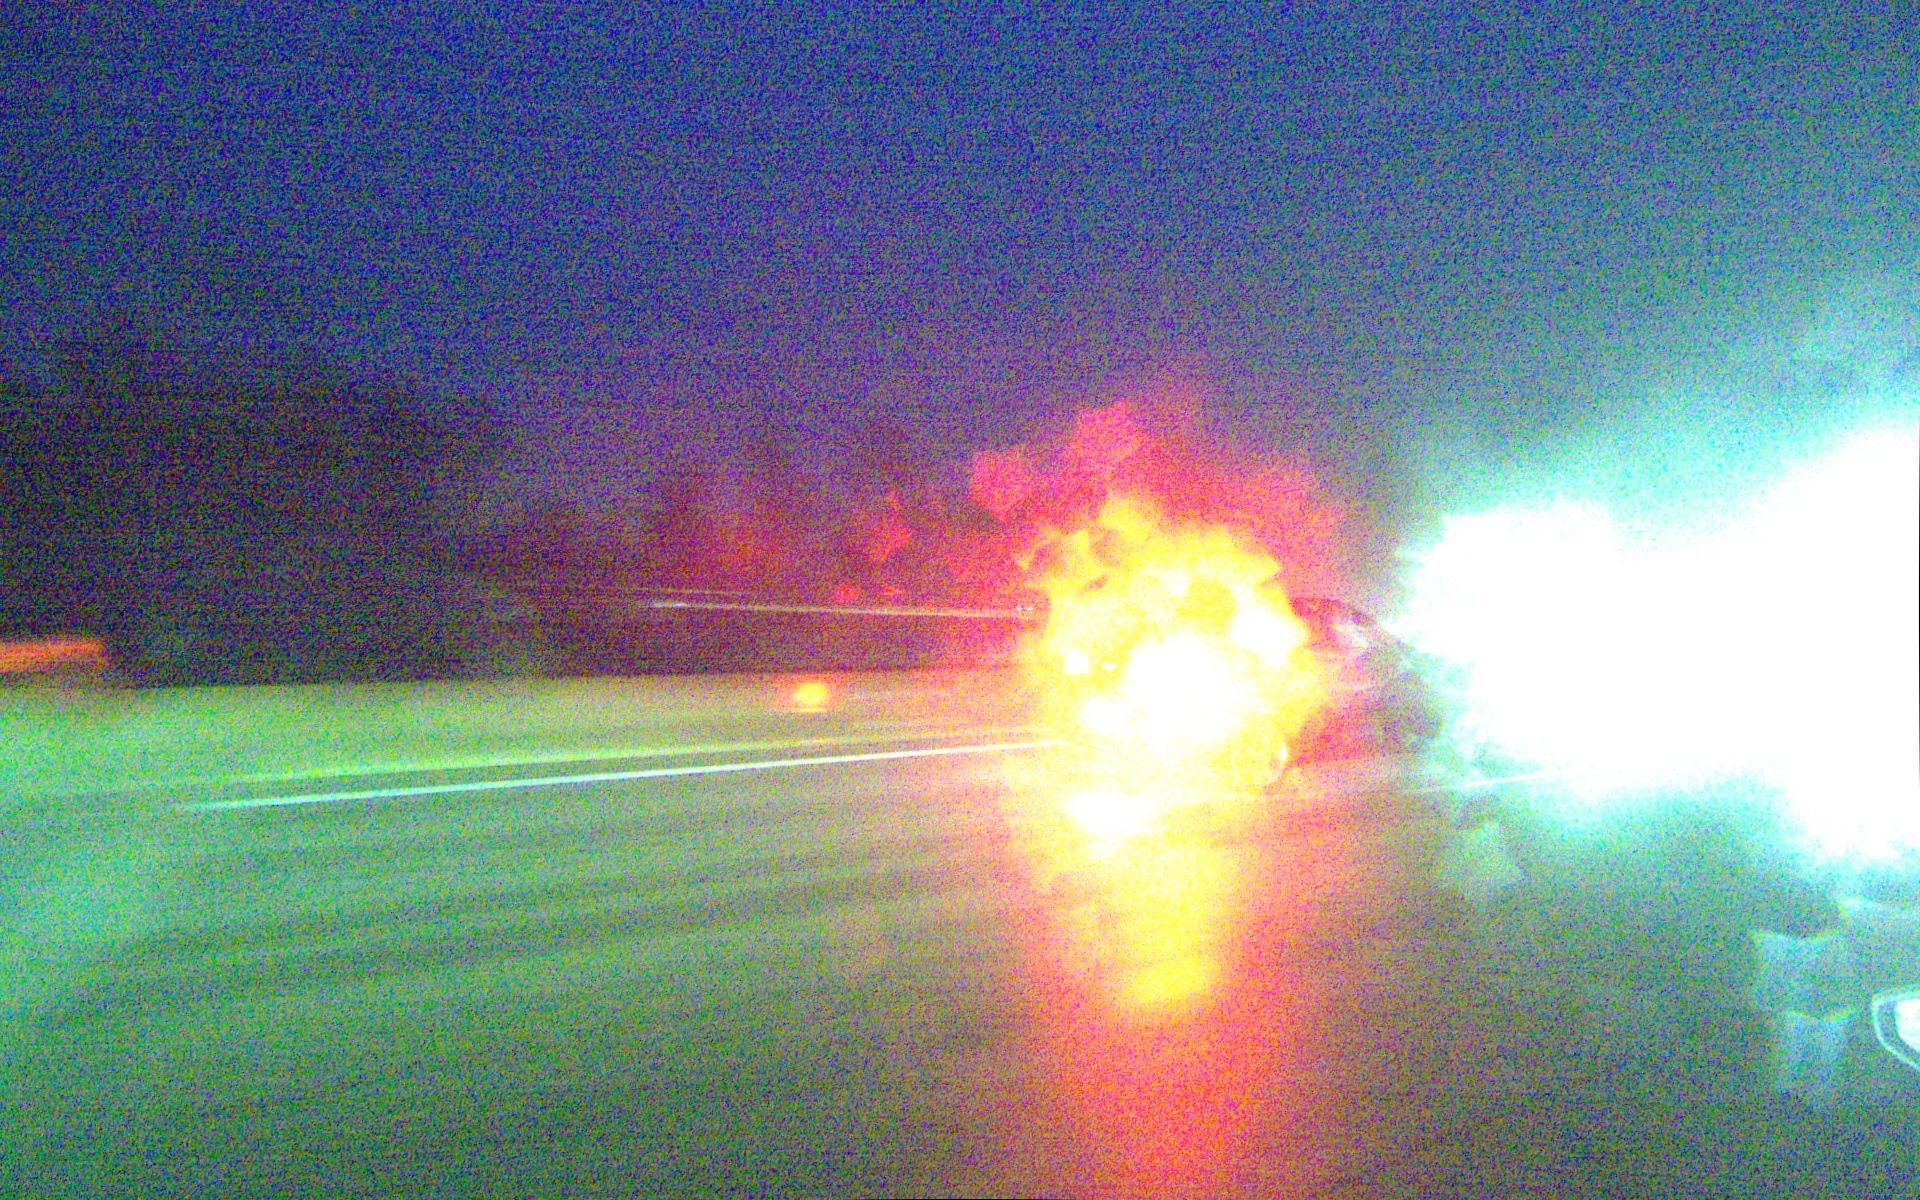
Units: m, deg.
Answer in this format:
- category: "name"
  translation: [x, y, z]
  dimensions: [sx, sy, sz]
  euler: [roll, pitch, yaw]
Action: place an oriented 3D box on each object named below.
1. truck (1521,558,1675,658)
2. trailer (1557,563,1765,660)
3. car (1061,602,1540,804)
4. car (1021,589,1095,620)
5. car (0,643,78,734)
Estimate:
- category: "truck"
  translation: [28.614, 0.512, 44.970]
  dimensions: [7.267, 4.057, 2.799]
  euler: [3, -5, -31]
- category: "trailer"
  translation: [33.975, 0.791, 48.338]
  dimensions: [13.774, 4.049, 2.799]
  euler: [3, -5, -31]
- category: "car"
  translation: [3.417, 0.847, 9.783]
  dimensions: [4.696, 1.561, 1.849]
  euler: [1, -1, -31]
- category: "car"
  translation: [5.974, 0.257, 61.158]
  dimensions: [4.213, 1.812, 1.781]
  euler: [1, 1, -26]
- category: "car"
  translation: [-15.425, 1.280, 14.552]
  dimensions: [3.658, 1.316, 1.608]
  euler: [3, -5, -30]
